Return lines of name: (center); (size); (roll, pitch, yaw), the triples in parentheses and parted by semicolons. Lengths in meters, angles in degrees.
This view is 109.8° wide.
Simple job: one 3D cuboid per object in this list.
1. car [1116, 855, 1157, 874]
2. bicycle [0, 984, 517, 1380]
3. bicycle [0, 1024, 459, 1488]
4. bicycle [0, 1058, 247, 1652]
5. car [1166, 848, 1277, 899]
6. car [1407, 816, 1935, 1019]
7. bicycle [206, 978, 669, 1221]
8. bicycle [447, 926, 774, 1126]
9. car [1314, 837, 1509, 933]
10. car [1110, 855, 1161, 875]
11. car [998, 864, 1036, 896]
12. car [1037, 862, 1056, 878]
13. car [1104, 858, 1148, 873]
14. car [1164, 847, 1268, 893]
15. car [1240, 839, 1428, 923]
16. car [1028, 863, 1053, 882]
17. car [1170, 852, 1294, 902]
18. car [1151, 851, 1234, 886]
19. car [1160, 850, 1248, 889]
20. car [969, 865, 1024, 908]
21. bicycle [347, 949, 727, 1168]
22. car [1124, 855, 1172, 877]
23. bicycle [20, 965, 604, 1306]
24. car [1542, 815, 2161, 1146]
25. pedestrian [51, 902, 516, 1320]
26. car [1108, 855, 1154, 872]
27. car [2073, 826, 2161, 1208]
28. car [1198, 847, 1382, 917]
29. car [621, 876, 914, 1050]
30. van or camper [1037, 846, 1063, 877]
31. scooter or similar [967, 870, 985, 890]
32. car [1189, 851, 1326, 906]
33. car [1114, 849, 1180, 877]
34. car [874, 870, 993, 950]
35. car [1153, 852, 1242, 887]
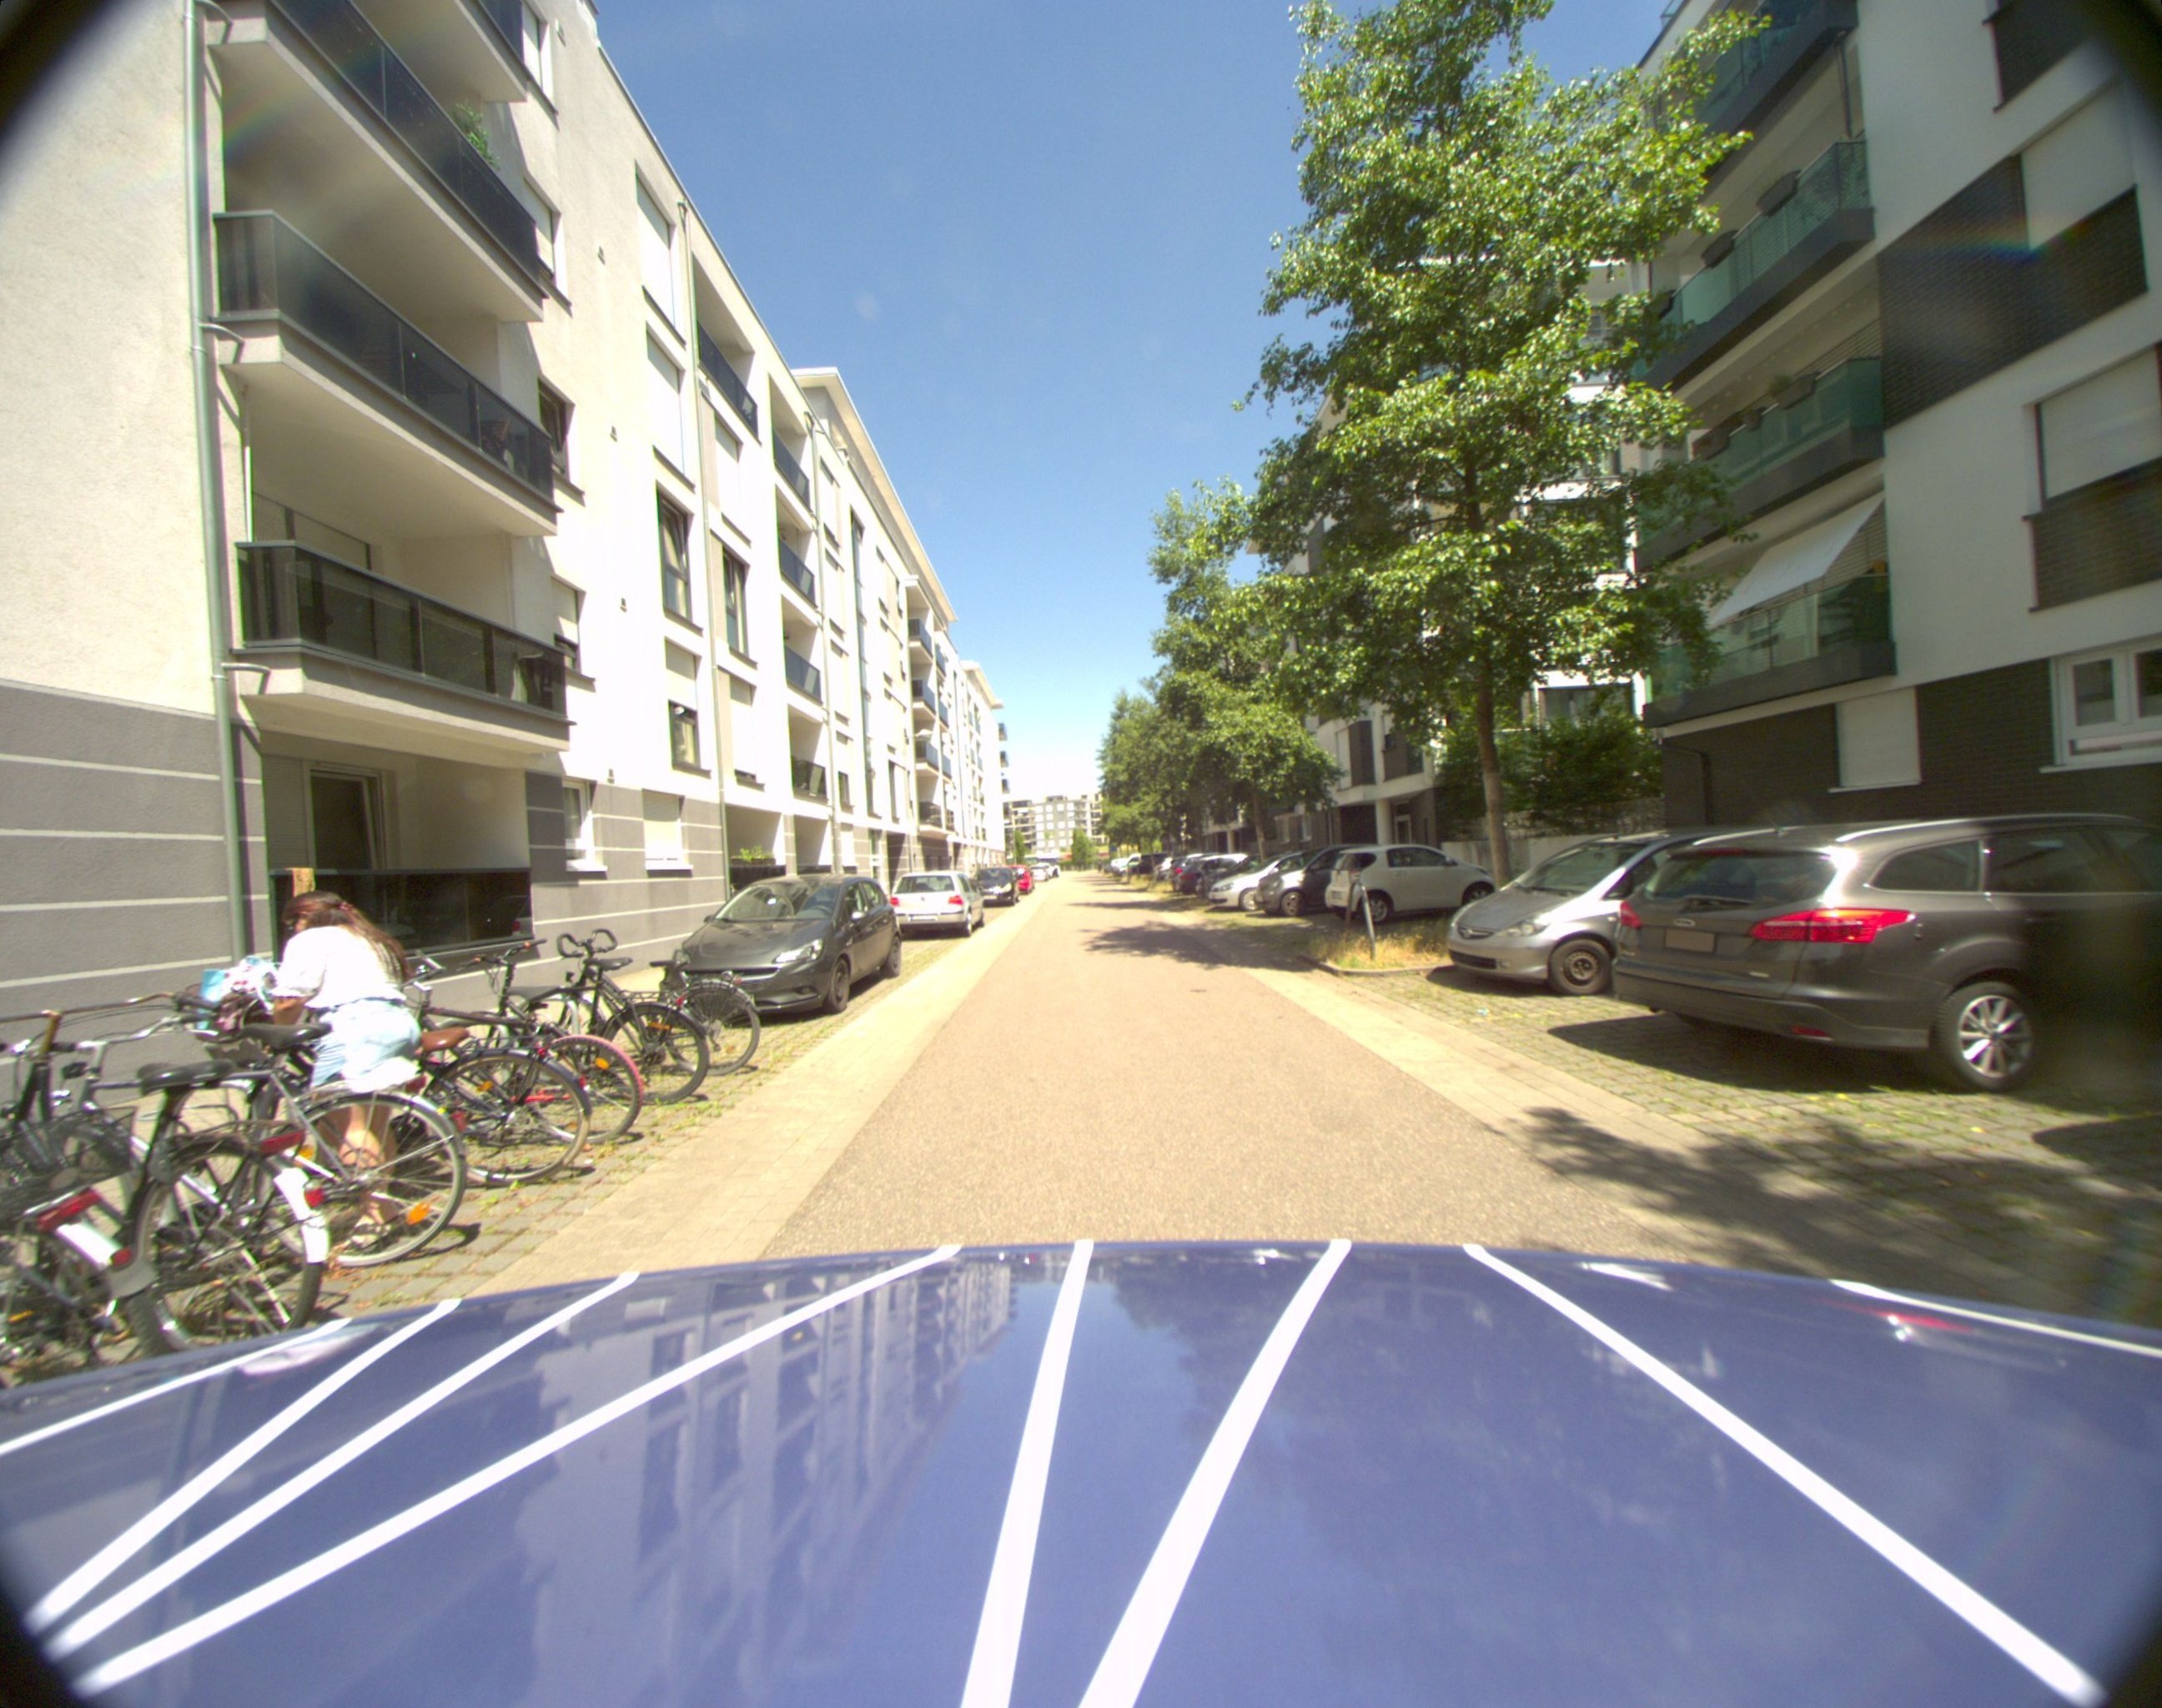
car: (5.598, 1.037, 77.294); (3.990, 1.619, 1.950); (-5, 0, 2)
bicycle: (-3.335, 1.175, 2.872); (1.841, 1.141, 0.460); (-2, 0, -19)
bicycle: (-3.200, 1.193, 2.506); (1.927, 1.126, 0.609); (-2, 0, 9)
bicycle: (-3.298, 1.179, 1.901); (1.927, 1.172, 0.638); (-2, 0, 9)
car: (5.503, 0.743, 30.140); (3.997, 1.641, 1.918); (-5, 0, 1)
car: (5.821, 0.590, 7.899); (3.948, 1.544, 1.872); (-5, 0, -1)
bicycle: (-3.382, 1.276, 4.117); (1.929, 1.029, 0.559); (-2, 0, -4)
bicycle: (-3.349, 1.204, 5.558); (1.875, 1.210, 0.715); (-2, 0, -4)
car: (6.440, 0.582, 15.063); (2.940, 1.491, 1.848); (-6, 0, -1)
car: (5.330, 1.074, 74.661); (4.571, 1.584, 1.966); (-5, 0, -5)
car: (-3.222, 1.301, 38.680); (1.599, 1.477, 3.676); (-1, 0, 0)
car: (-3.384, 1.553, 74.401); (1.812, 1.496, 4.260); (-2, 0, -2)
car: (5.452, 1.409, 92.300); (5.112, 1.476, 1.927); (-4, 0, -3)
car: (5.741, 0.682, 32.666); (3.997, 1.620, 1.933); (-5, 0, 0)
car: (5.927, 0.617, 18.065); (3.719, 1.576, 1.820); (-5, 0, -5)
car: (-3.455, 1.546, 65.387); (1.850, 1.408, 4.426); (-3, 0, 1)
car: (5.402, 0.797, 27.495); (3.985, 1.437, 1.775); (-5, 0, -4)
car: (6.197, 0.787, 42.584); (4.263, 1.509, 1.924); (-5, 0, -1)
car: (6.028, 0.748, 37.577); (3.997, 1.582, 1.884); (-5, 0, 0)
car: (-3.153, 1.173, 28.911); (1.647, 1.454, 4.117); (-2, 0, -1)
bicycle: (-3.335, 1.232, 4.811); (1.791, 1.097, 0.746); (-2, 0, -4)
car: (5.388, 0.956, 61.692); (3.632, 1.473, 1.678); (-5, 0, -1)
bicycle: (-3.349, 1.196, 3.455); (1.929, 1.210, 0.460); (-2, 0, -9)
car: (5.735, 0.607, 5.003); (4.192, 1.477, 1.958); (-4, 1, -4)
pedestrian: (-3.359, 1.004, 3.328); (1.182, 1.506, 0.687); (-2, 0, -10)
car: (5.699, 1.075, 87.241); (5.042, 1.622, 2.042); (-4, -1, -3)
car: (6.327, 0.573, 2.360); (3.996, 1.545, 1.800); (-3, 0, 2)
car: (5.523, 0.724, 20.480); (4.372, 1.700, 2.000); (-1, 0, -3)
car: (-3.387, 1.077, 9.203); (1.743, 1.476, 4.229); (-2, 0, 0)
van or camper: (-3.211, 0.751, 80.686); (2.445, 2.889, 7.825); (-4, 0, -1)
scooter or similar: (-6.748, 1.646, 49.010); (0.546, 1.218, 1.531); (-4, 0, 15)
car: (5.730, 0.780, 25.018); (3.997, 1.414, 1.897); (-5, 0, 1)
car: (5.582, 0.767, 64.484); (5.355, 2.098, 2.187); (-3, 0, 2)
car: (-3.229, 1.182, 17.522); (1.839, 1.496, 4.350); (-2, 0, 0)
car: (6.079, 0.802, 40.138); (4.327, 1.467, 1.793); (-5, 0, 0)
